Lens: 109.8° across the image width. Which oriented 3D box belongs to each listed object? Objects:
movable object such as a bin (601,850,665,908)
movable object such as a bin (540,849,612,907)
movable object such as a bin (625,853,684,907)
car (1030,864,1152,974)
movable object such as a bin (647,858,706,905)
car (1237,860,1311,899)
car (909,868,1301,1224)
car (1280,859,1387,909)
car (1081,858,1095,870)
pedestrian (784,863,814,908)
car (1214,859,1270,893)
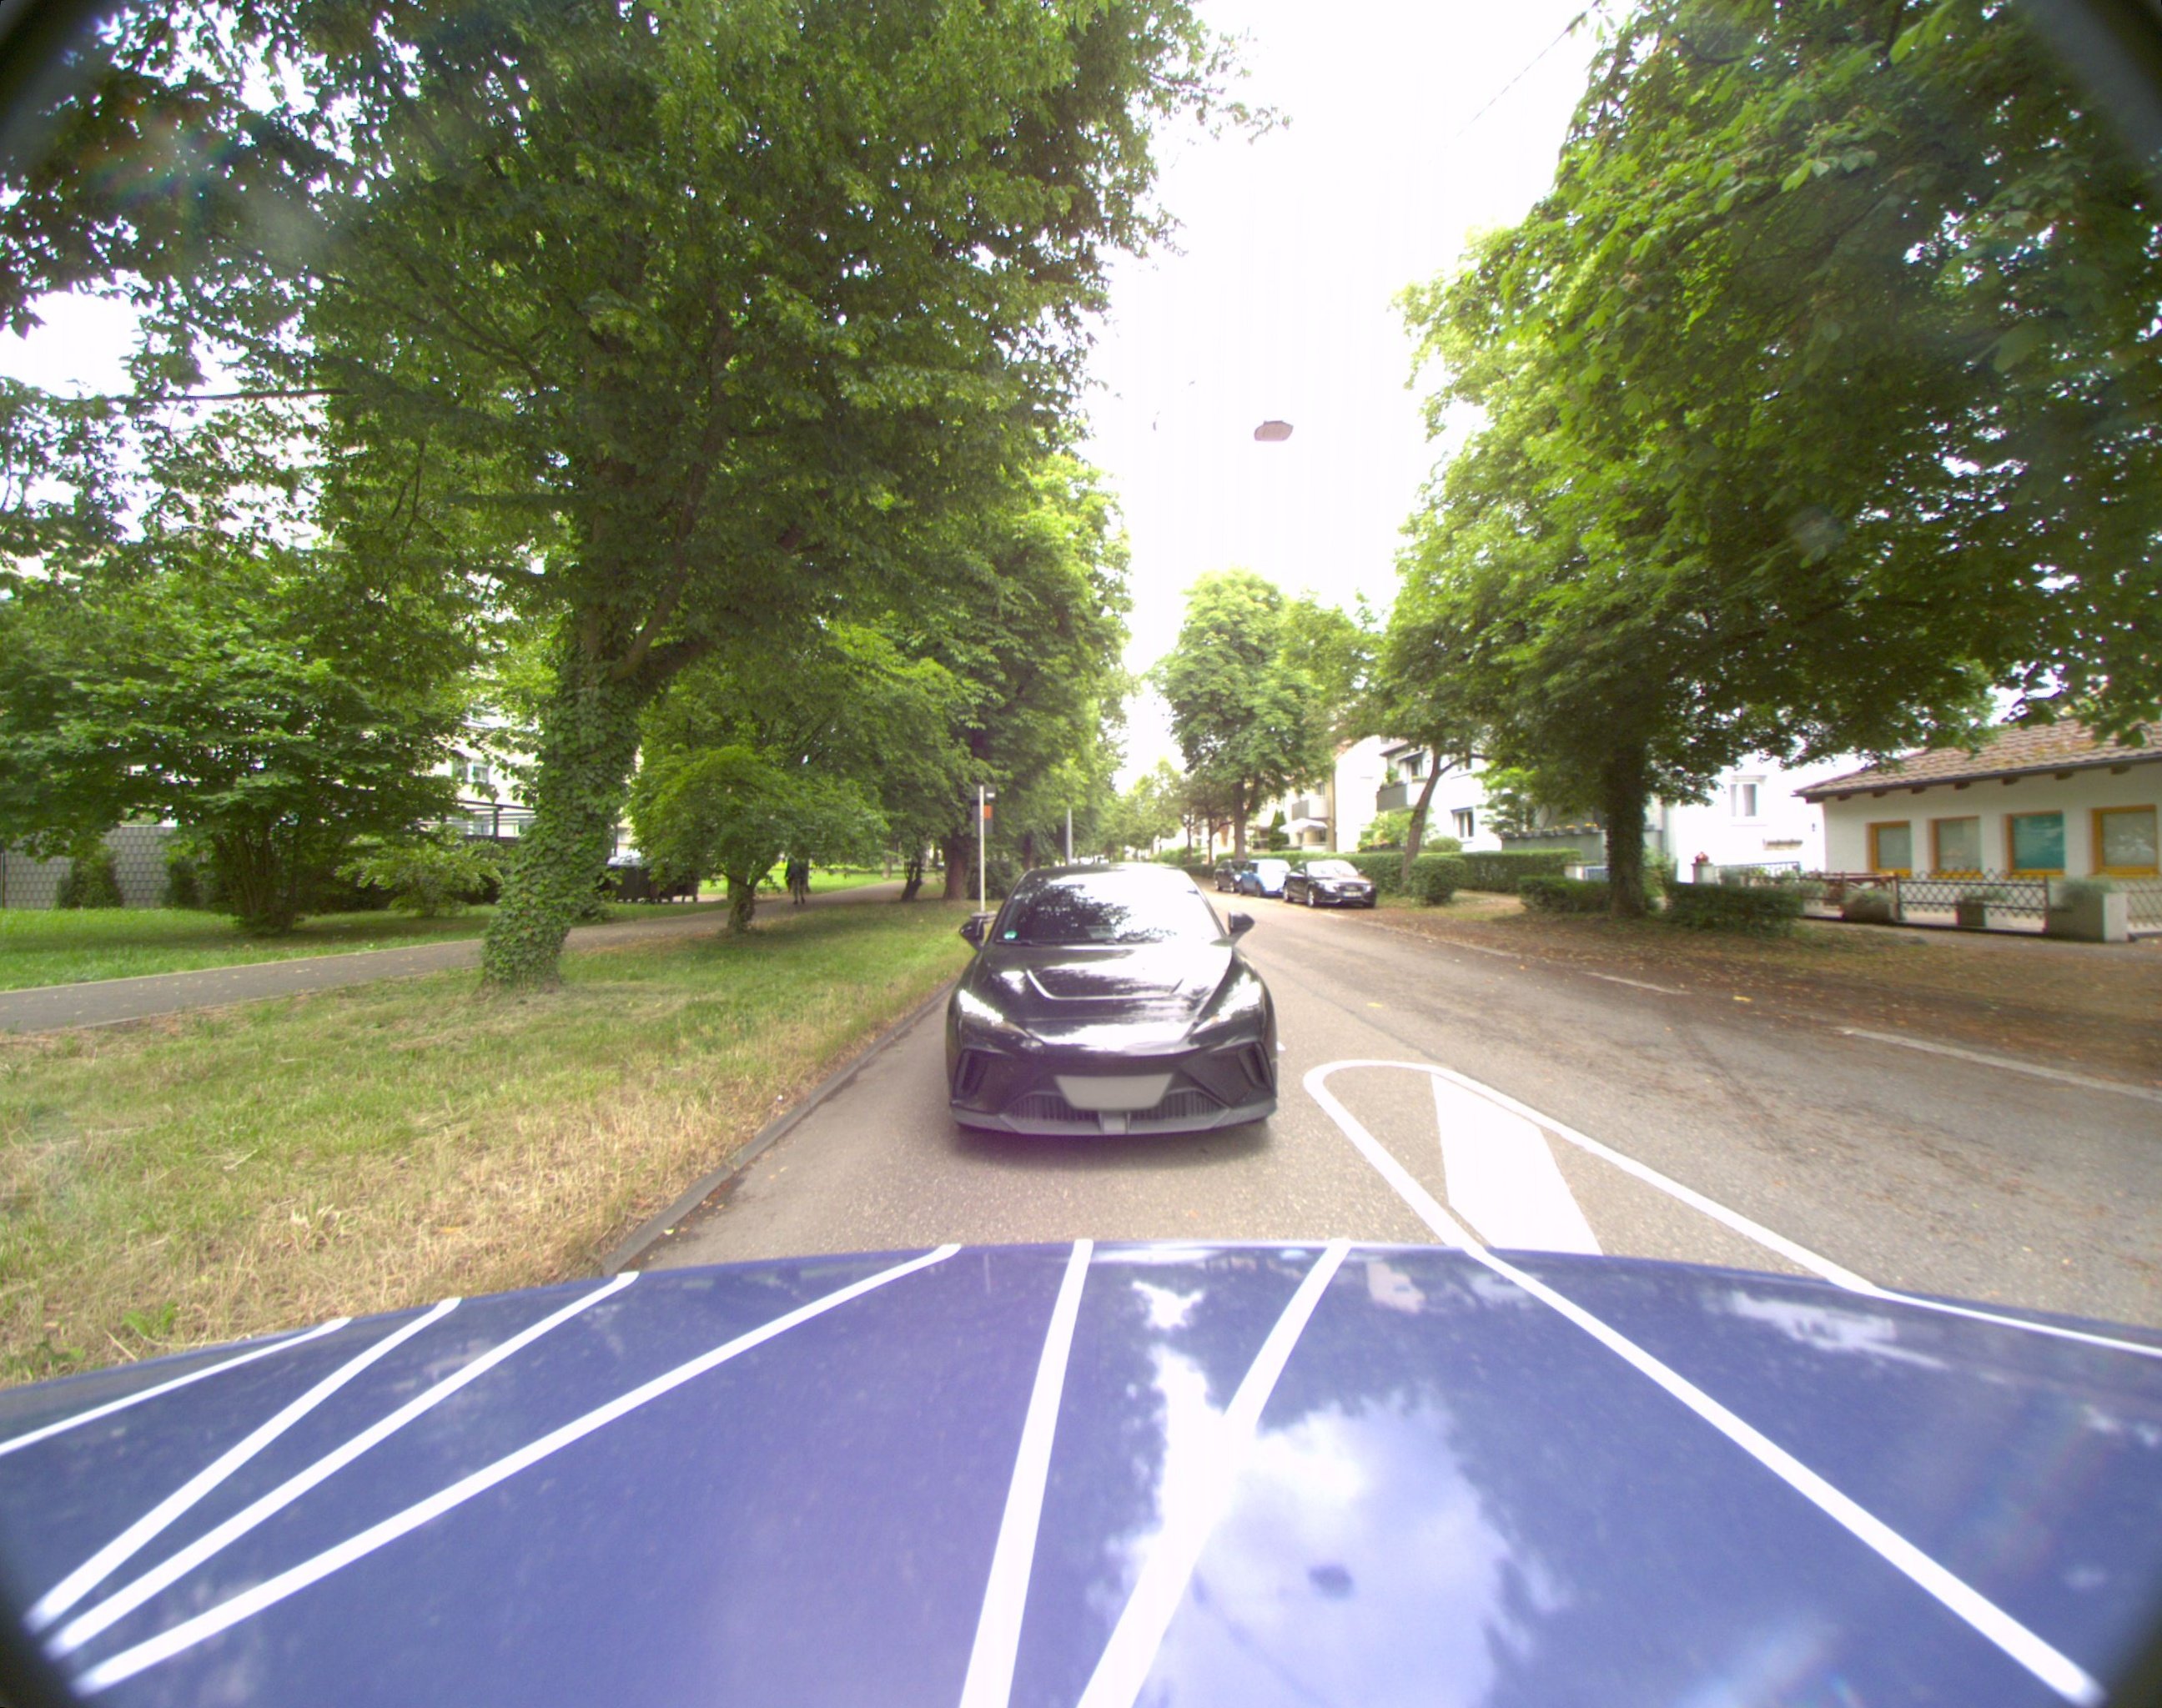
[{"bbox_3d":[-13.242,0.724,22.491,1.278,1.633,1.020,1,1,-4],"label":"movable object such as a bin"},{"bbox_3d":[-14.806,0.694,22.330,1.435,1.633,1.020,1,1,-4],"label":"movable object such as a bin"},{"bbox_3d":[-13.334,0.804,23.786,1.240,1.633,1.075,1,1,-4],"label":"movable object such as a bin"},{"bbox_3d":[0.196,1.000,13.384,1.814,1.520,4.000,0,1,1],"label":"car"},{"bbox_3d":[-13.296,0.880,25.014,1.328,1.466,1.201,1,1,-4],"label":"movable object such as a bin"},{"bbox_3d":[7.173,0.912,28.631,1.637,1.368,4.151,0,-1,-1],"label":"car"},{"bbox_3d":[0.214,0.943,5.691,1.803,1.541,4.299,-1,0,3],"label":"car"},{"bbox_3d":[7.519,0.853,23.149,1.852,1.368,4.594,0,-1,2],"label":"car"},{"bbox_3d":[0.990,1.429,108.754,1.999,1.586,4.000,0,0,0],"label":"car"},{"bbox_3d":[-8.747,0.975,23.587,0.689,1.373,0.606,0,1,-1],"label":"pedestrian"},{"bbox_3d":[6.986,0.927,33.238,1.541,1.368,3.771,0,-1,-1],"label":"car"}]
